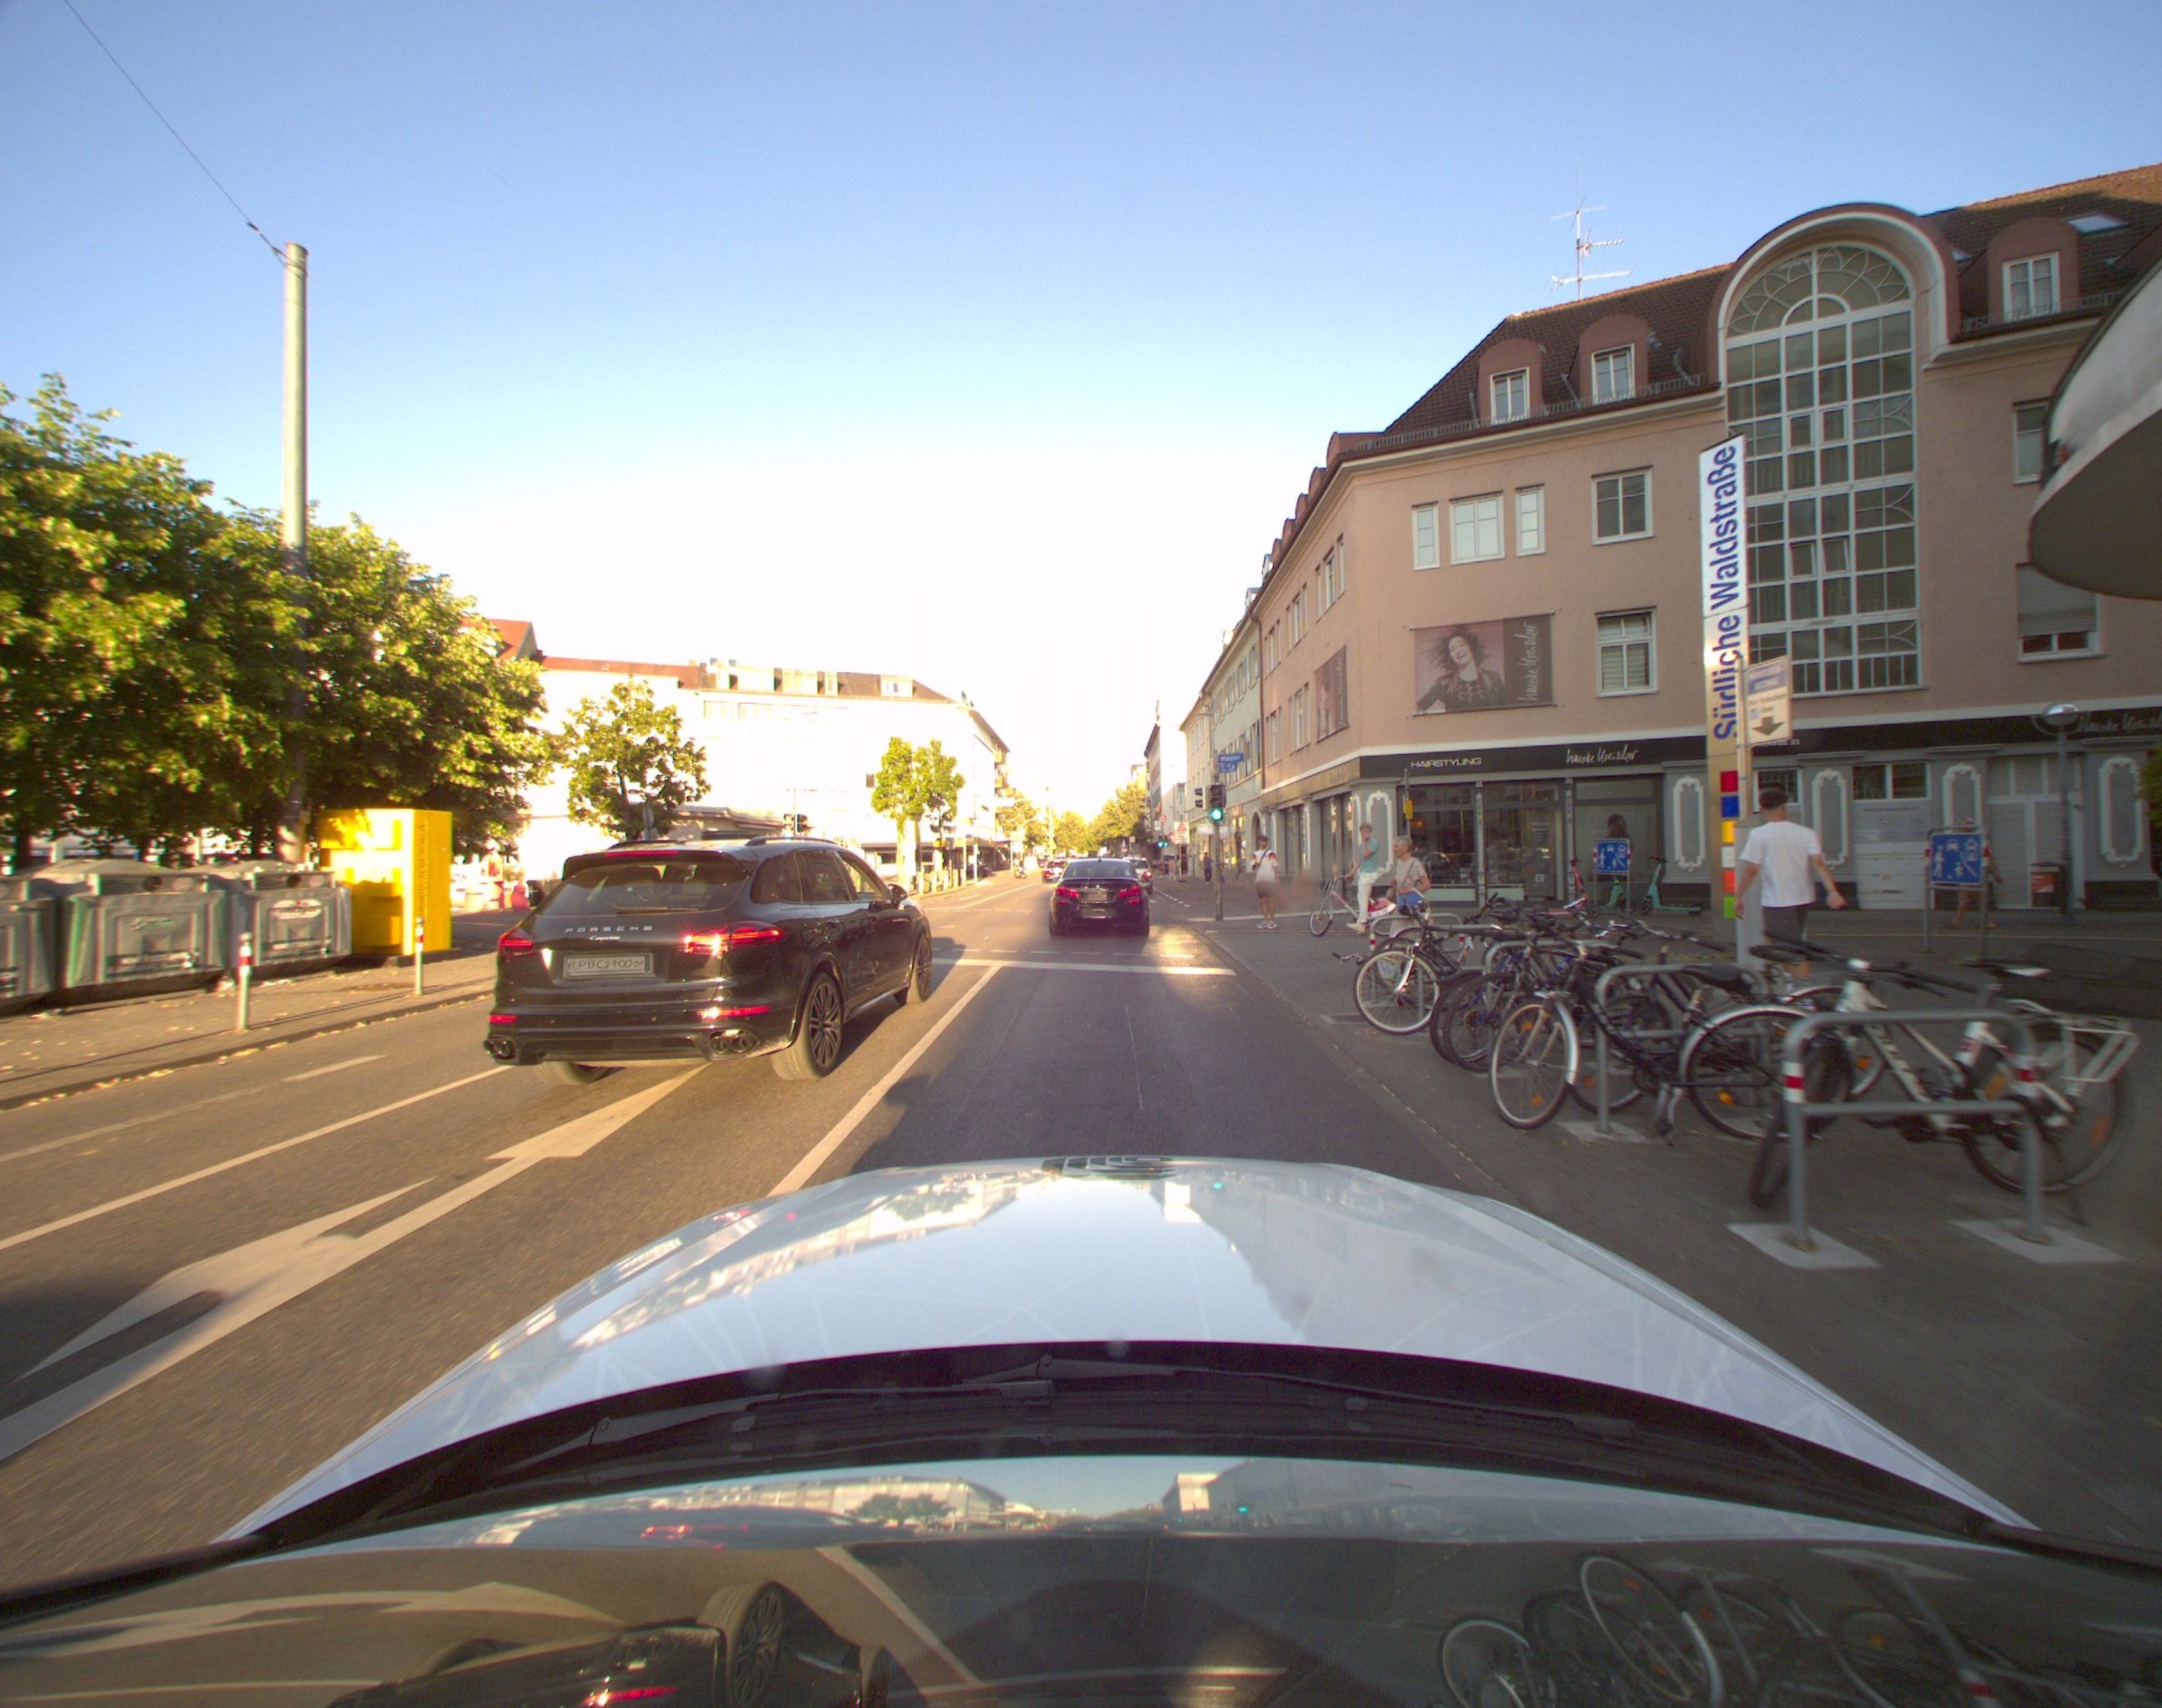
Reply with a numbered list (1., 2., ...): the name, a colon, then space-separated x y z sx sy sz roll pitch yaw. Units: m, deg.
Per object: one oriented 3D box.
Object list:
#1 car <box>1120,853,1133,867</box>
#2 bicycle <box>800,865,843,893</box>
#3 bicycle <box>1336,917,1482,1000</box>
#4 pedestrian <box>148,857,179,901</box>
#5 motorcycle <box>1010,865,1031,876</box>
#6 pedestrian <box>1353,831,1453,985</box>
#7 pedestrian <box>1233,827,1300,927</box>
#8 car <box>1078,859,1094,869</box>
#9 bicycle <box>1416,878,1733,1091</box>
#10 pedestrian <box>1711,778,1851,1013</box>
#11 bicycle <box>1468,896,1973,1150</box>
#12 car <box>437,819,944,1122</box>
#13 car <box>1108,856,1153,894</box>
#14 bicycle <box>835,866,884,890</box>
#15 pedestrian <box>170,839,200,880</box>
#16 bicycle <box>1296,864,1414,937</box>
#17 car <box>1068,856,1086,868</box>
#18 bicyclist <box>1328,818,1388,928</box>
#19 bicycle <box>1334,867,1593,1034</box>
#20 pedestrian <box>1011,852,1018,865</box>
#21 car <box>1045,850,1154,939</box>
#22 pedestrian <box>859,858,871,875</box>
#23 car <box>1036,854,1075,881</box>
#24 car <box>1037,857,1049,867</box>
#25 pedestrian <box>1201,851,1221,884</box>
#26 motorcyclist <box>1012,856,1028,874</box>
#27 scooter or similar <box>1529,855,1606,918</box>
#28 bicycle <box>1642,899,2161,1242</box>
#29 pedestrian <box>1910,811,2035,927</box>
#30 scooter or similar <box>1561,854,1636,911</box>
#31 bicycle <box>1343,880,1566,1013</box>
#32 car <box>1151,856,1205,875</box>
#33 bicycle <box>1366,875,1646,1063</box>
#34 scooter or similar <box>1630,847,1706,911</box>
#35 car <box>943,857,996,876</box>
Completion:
1. car: 5.855 0.761 104.774 1.417 1.855 3.051 0 -1 -1
2. bicycle: -12.433 1.196 39.007 1.846 1.256 0.633 -1 0 2
3. bicycle: 3.334 1.041 8.382 1.004 0.681 1.048 -1 0 -8
4. pedestrian: -43.025 1.160 38.200 0.662 2.014 0.805 0 -1 -22
5. motorcycle: -4.520 1.208 60.605 0.666 0.780 2.011 0 0 -34
6. pedestrian: 3.685 0.579 9.312 0.782 1.653 0.785 -2 -1 45
7. pedestrian: 3.681 0.437 16.185 0.943 1.897 0.819 -1 -1 -26
8. car: 0.627 1.264 108.449 1.731 1.293 3.994 -1 0 -4
9. bicycle: 3.206 0.793 5.340 1.782 1.173 0.620 -2 0 -10
10. pedestrian: 5.926 0.321 6.906 0.815 1.817 0.877 -2 -1 42
11. bicycle: 3.350 0.830 4.384 2.166 1.075 0.804 -2 0 -6
12. car: -2.663 0.680 7.014 1.941 1.714 4.565 -2 0 3
13. car: 2.177 0.881 36.729 1.826 1.576 4.101 -1 0 1
14. bicycle: -12.203 1.298 44.850 2.433 1.256 0.788 -1 0 2
15. pedestrian: -44.245 0.275 40.222 0.662 2.014 0.805 0 -1 -24
16. bicycle: 4.683 0.790 14.048 1.808 1.186 0.796 -1 0 10
17. car: -0.495 0.964 101.700 1.990 1.442 3.994 -1 0 -4
18. bicyclist: 4.758 0.317 14.049 0.828 1.826 0.833 -1 0 9
19. bicycle: 3.118 0.755 6.722 1.839 1.239 0.638 -2 0 -4
20. pedestrian: -8.957 0.607 110.341 0.820 1.676 0.871 -1 0 0
21. car: 0.354 0.706 16.587 1.897 1.540 4.450 -1 0 0
22. pedestrian: -19.750 1.122 74.402 0.950 1.537 0.901 -1 -1 -24
23. car: -1.670 0.800 51.005 1.872 1.595 4.435 -1 0 -9
24. car: -5.731 1.201 123.289 1.731 1.461 3.994 -1 0 -4
25. pedestrian: 6.607 0.695 41.437 0.821 1.642 0.871 -1 -1 0
26. motorcyclist: -4.541 0.810 60.638 0.771 1.320 0.984 0 0 -33
27. scooter or similar: 9.640 0.637 16.166 1.242 1.214 0.470 -1 0 24
28. bicycle: 3.407 0.800 3.383 1.844 1.123 0.593 -2 -1 -10
29. pedestrian: 14.236 0.232 13.030 1.095 1.775 0.824 -1 -1 -5
30. scooter or similar: 10.809 0.591 17.035 1.289 1.143 0.366 -1 0 29
31. bicycle: 3.481 0.825 7.653 1.782 1.063 0.716 -3 0 -10
32. car: 8.094 0.925 68.145 3.988 1.552 2.087 -1 0 -11
33. bicycle: 3.093 0.790 5.975 1.782 1.173 0.620 -2 0 -10
34. scooter or similar: 11.805 0.504 16.405 1.189 1.260 0.366 -1 0 27
35. car: -9.144 0.990 66.501 3.948 1.486 2.013 -1 0 34
